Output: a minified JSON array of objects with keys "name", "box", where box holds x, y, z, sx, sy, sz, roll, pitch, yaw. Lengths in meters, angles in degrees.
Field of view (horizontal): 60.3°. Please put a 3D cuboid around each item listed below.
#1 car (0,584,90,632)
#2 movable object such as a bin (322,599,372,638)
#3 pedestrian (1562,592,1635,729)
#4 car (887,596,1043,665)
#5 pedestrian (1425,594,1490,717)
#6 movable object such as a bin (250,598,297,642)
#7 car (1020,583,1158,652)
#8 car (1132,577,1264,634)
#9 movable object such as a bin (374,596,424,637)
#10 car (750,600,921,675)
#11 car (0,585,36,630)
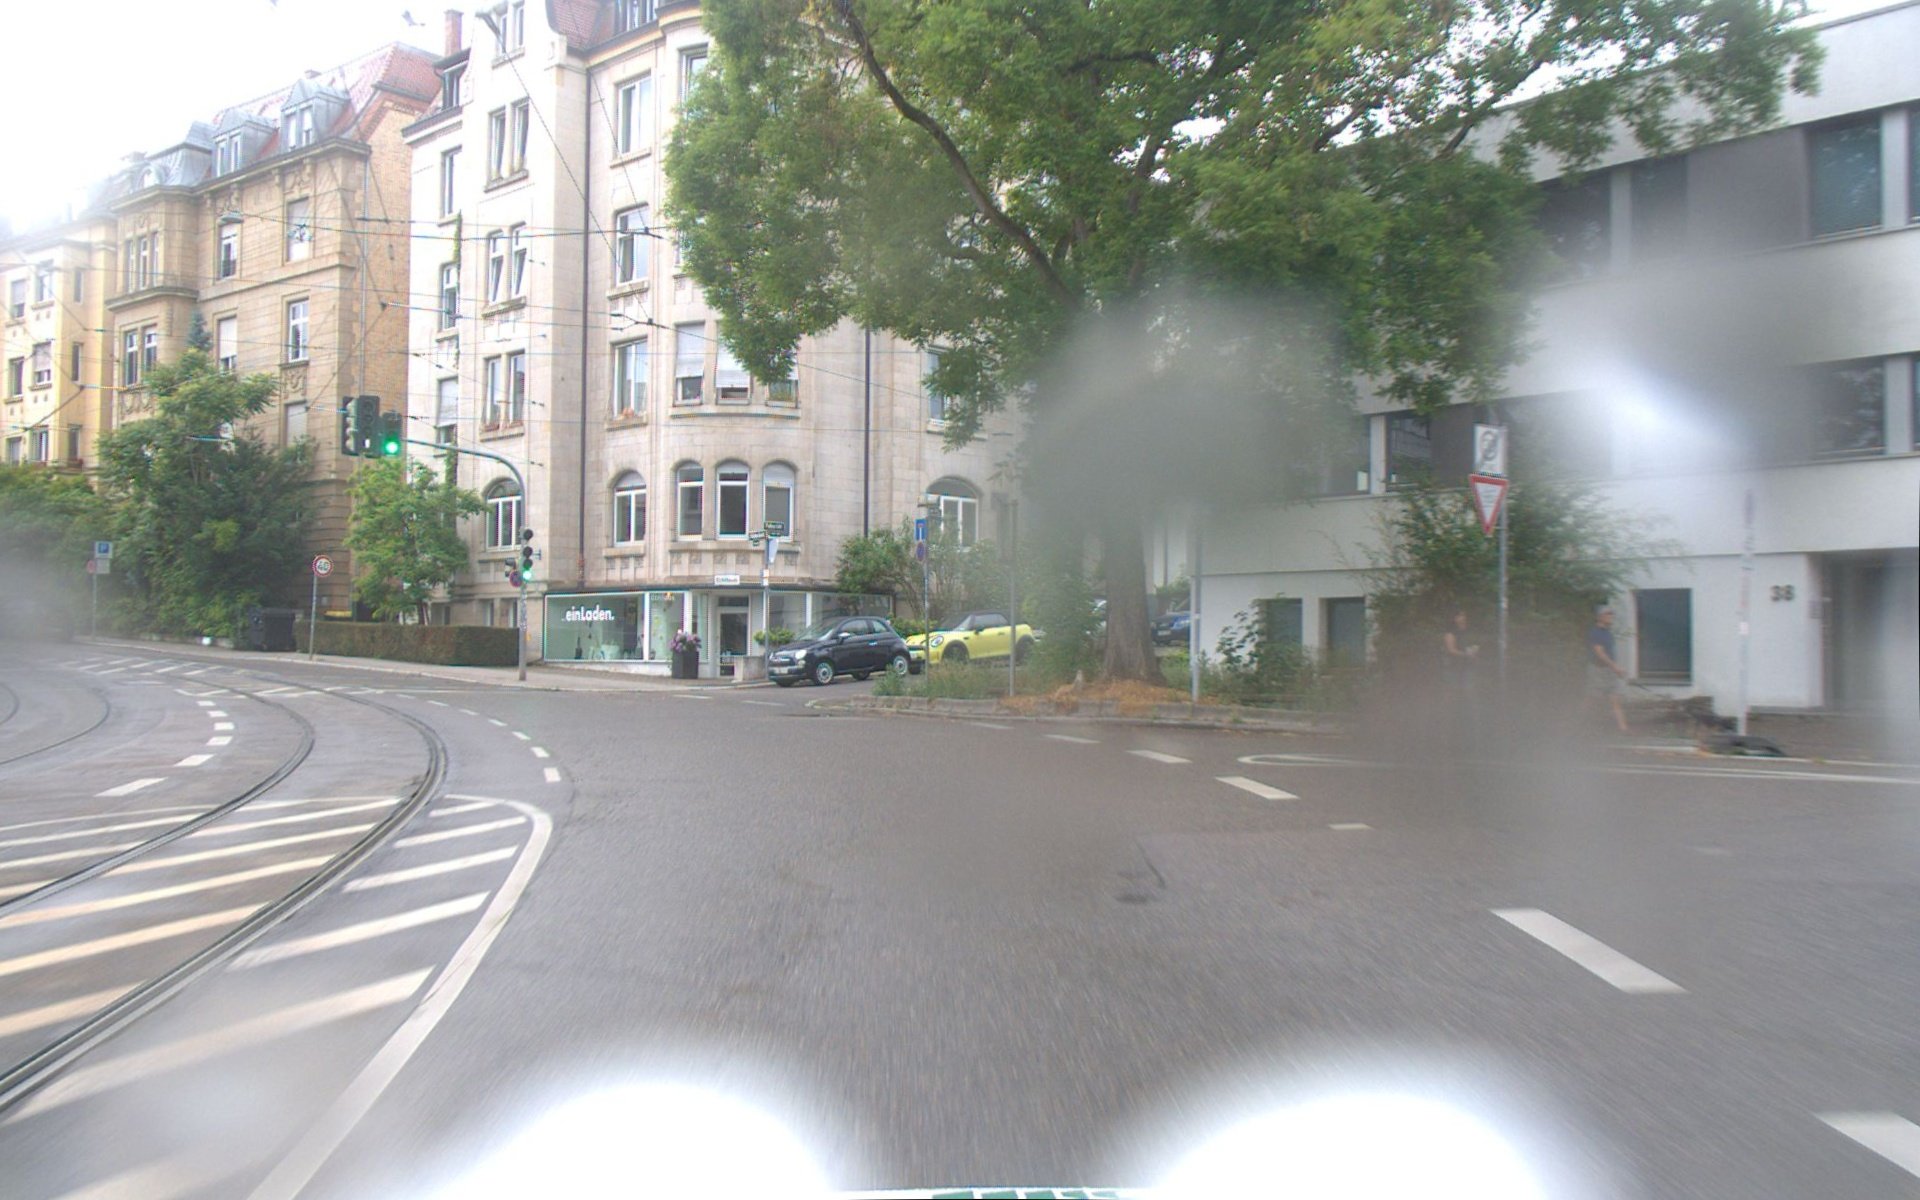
[{"name":"car","box":[-32.526,0.275,58.385,3.925,1.415,1.763,4,-1,39]},{"name":"movable object such as a bin","box":[-21.606,0.639,58.302,1.146,1.331,1.215,1,0,40]},{"name":"pedestrian","box":[8.007,0.746,20.746,0.539,1.657,0.595,1,2,-33]},{"name":"car","box":[0.156,0.715,40.843,3.639,1.534,1.711,-2,1,-42]},{"name":"pedestrian","box":[6.605,0.731,21.986,0.589,1.593,0.544,2,1,-10]},{"name":"movable object such as a bin","box":[-23.229,0.655,55.973,0.805,1.427,1.226,3,2,32]},{"name":"car","box":[3.467,0.450,44.071,1.596,1.534,3.749,-4,0,44]},{"name":"car","box":[6.881,0.196,47.615,3.860,1.534,1.600,1,-3,-40]},{"name":"movable object such as a bin","box":[-20.307,0.579,59.903,1.283,1.450,1.228,1,1,40]},{"name":"car","box":[-2.821,0.820,37.924,3.639,1.534,1.711,-2,1,-42]},{"name":"car","box":[-36.254,0.239,61.385,4.201,1.631,1.765,2,0,35]}]
